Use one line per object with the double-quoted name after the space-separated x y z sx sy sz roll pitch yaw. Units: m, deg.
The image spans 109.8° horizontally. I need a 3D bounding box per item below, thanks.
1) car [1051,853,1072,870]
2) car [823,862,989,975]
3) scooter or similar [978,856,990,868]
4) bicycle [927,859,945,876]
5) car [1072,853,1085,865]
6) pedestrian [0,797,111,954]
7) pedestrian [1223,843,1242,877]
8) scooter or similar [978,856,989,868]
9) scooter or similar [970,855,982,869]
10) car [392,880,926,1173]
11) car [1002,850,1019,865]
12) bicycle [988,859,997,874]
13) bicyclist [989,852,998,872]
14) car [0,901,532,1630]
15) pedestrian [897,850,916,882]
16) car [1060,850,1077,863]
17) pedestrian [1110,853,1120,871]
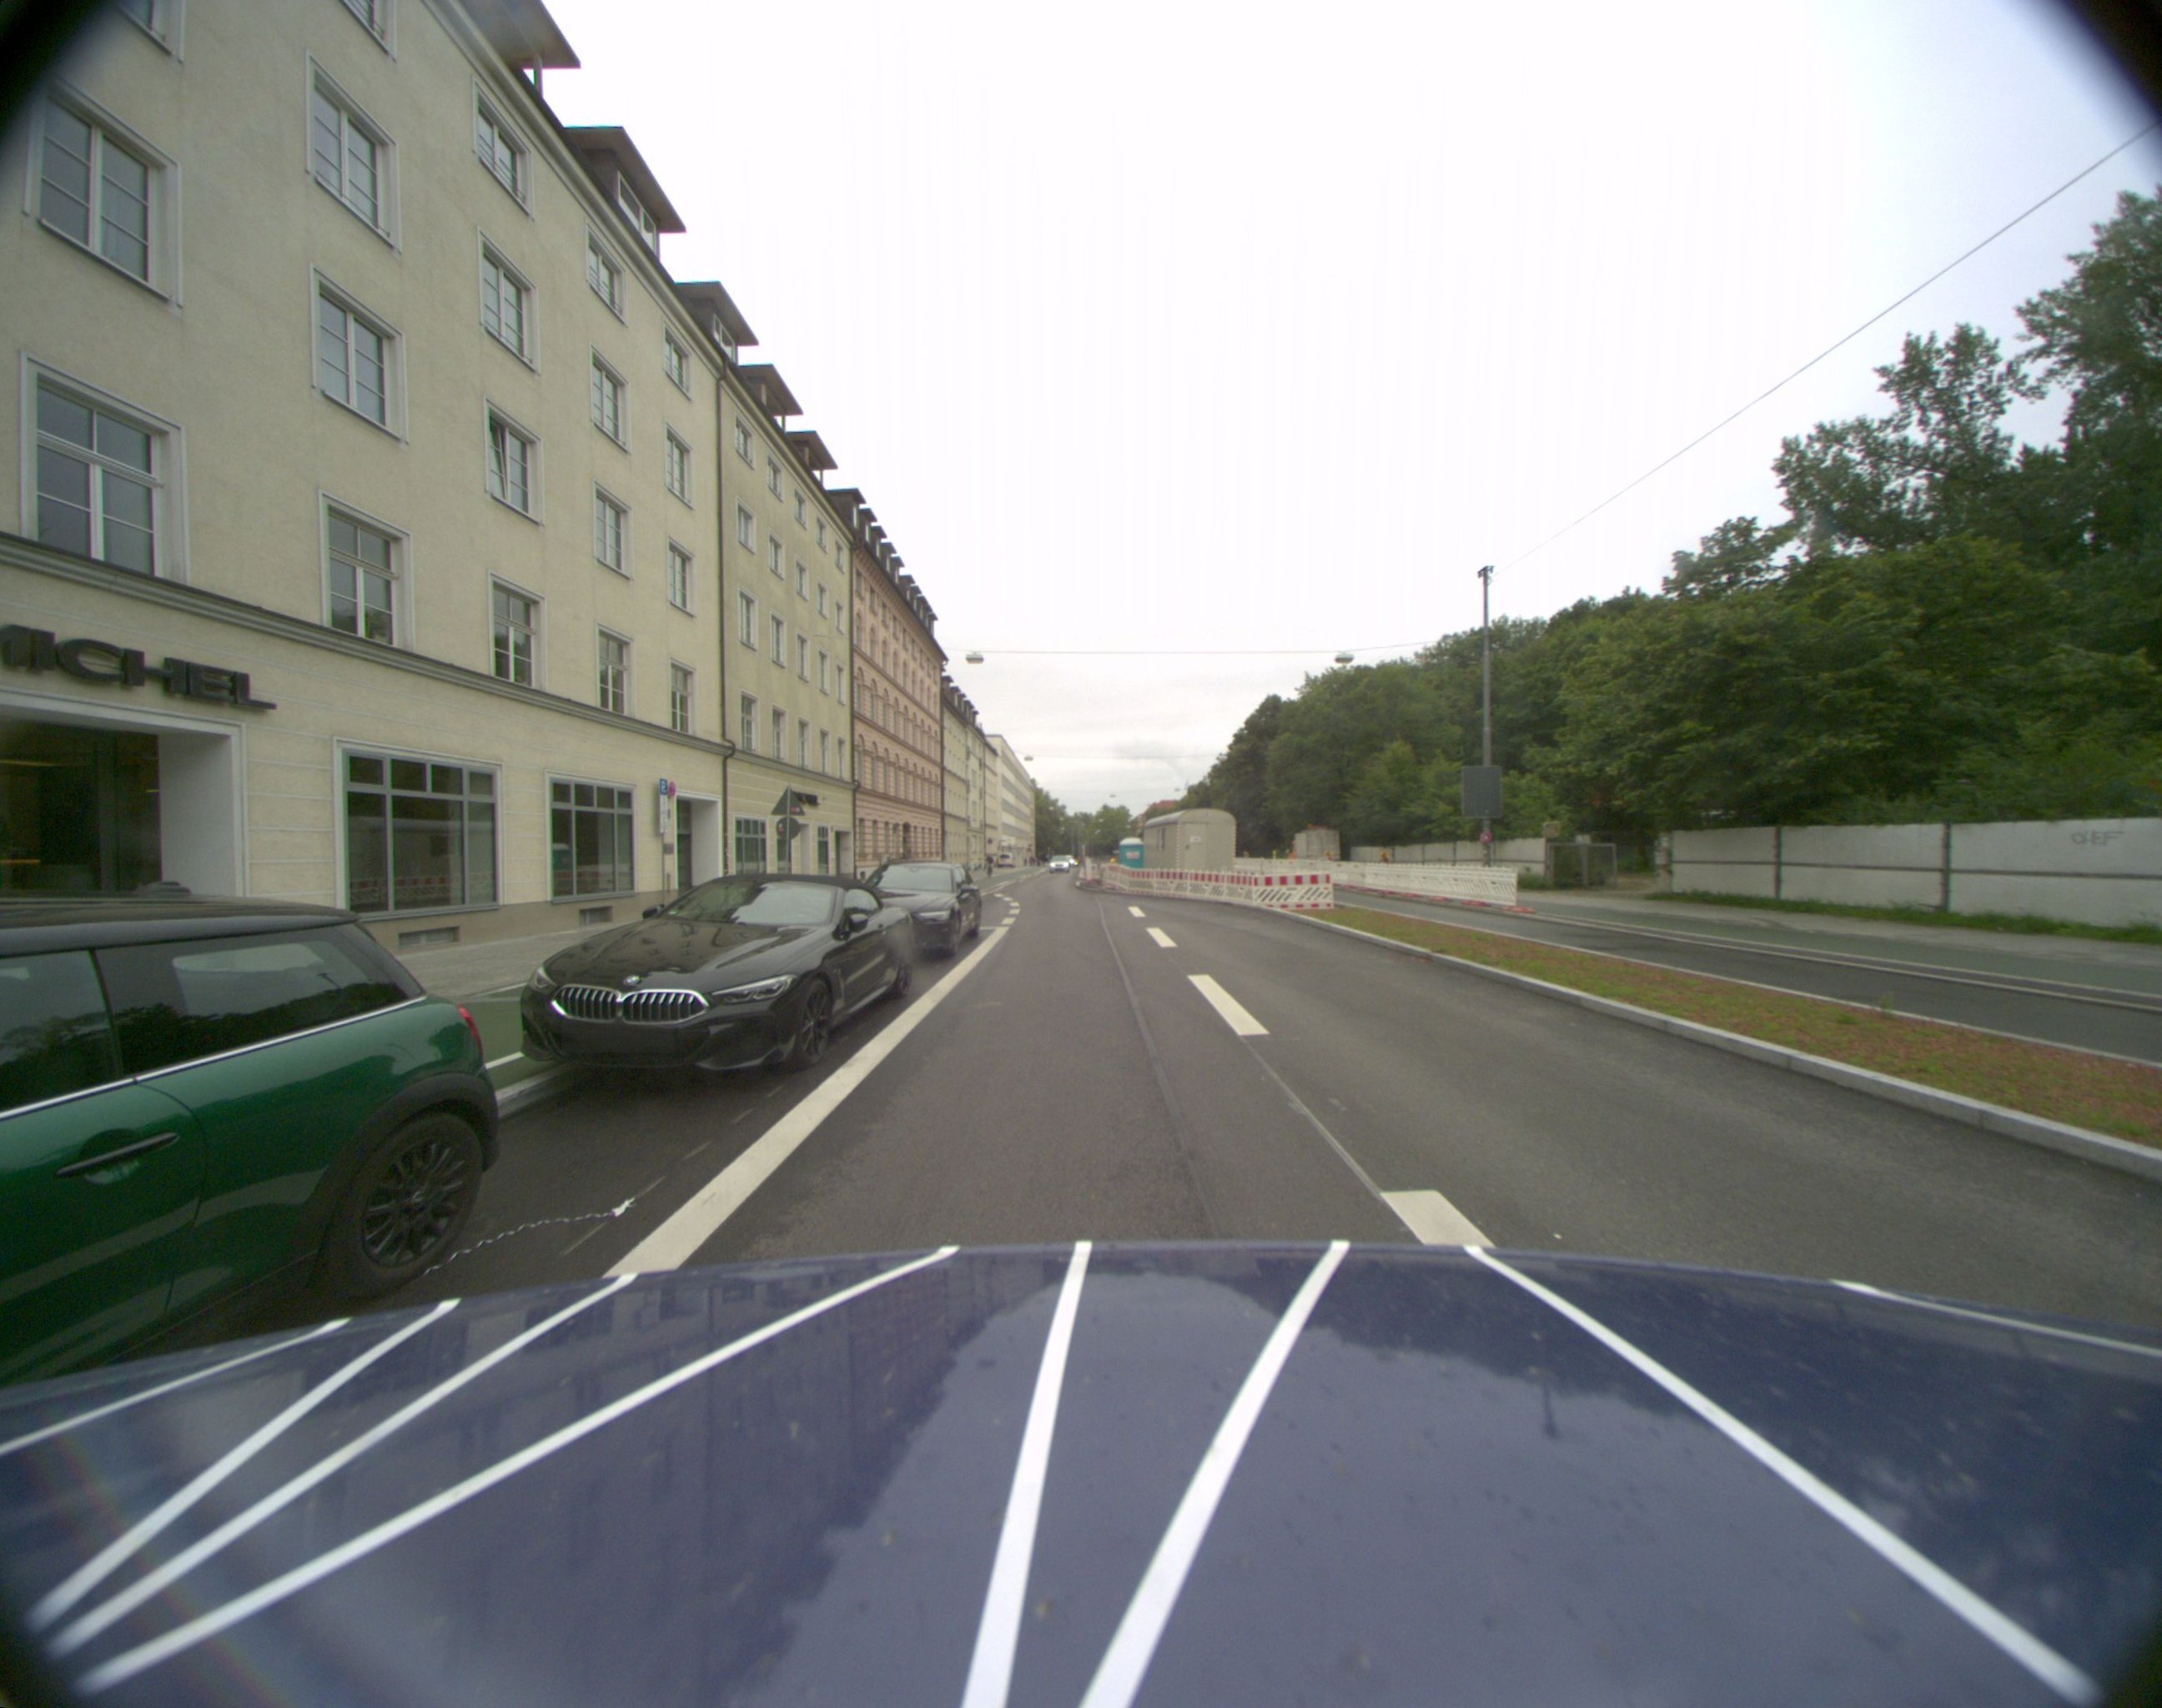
-1.777 0.651 68.171 1.759 1.461 3.998 -2 0 -3 "car"
-2.759 0.941 13.035 1.813 1.472 4.461 3 0 -1 "car"
-9.733 0.791 76.481 1.078 1.185 0.453 -1 1 -29 "scooter or similar"
-10.067 0.910 52.868 0.556 1.170 1.727 0 0 15 "bicycle"
-0.414 0.877 133.611 1.998 2.002 3.999 -3 1 1 "car"
-11.783 0.229 8.488 0.861 1.679 0.781 0 1 2 "pedestrian"
8.678 0.319 43.652 0.890 1.930 0.875 -1 1 -2 "pedestrian"
-9.996 0.802 77.817 1.079 1.185 0.436 -1 1 -39 "scooter or similar"
-9.935 0.754 71.684 0.552 1.238 1.079 0 1 35 "scooter or similar"
-2.826 1.041 6.575 1.830 1.399 4.720 -2 0 2 "car"
-8.702 0.432 94.070 1.766 1.821 3.999 -1 0 0 "car"
-6.561 0.926 56.505 0.632 1.031 2.016 -1 0 -6 "bicycle"
-6.496 0.597 56.525 0.632 1.459 0.652 -1 1 -6 "bicyclist"
-3.272 0.995 1.347 1.679 1.512 3.829 -2 0 2 "car"
-9.648 0.665 42.075 0.795 1.735 0.833 -1 1 1 "pedestrian"
-1.497 0.275 90.984 1.759 1.461 3.998 -2 0 -4 "car"
3.518 0.849 79.131 0.860 1.826 0.874 -1 1 -7 "pedestrian"
